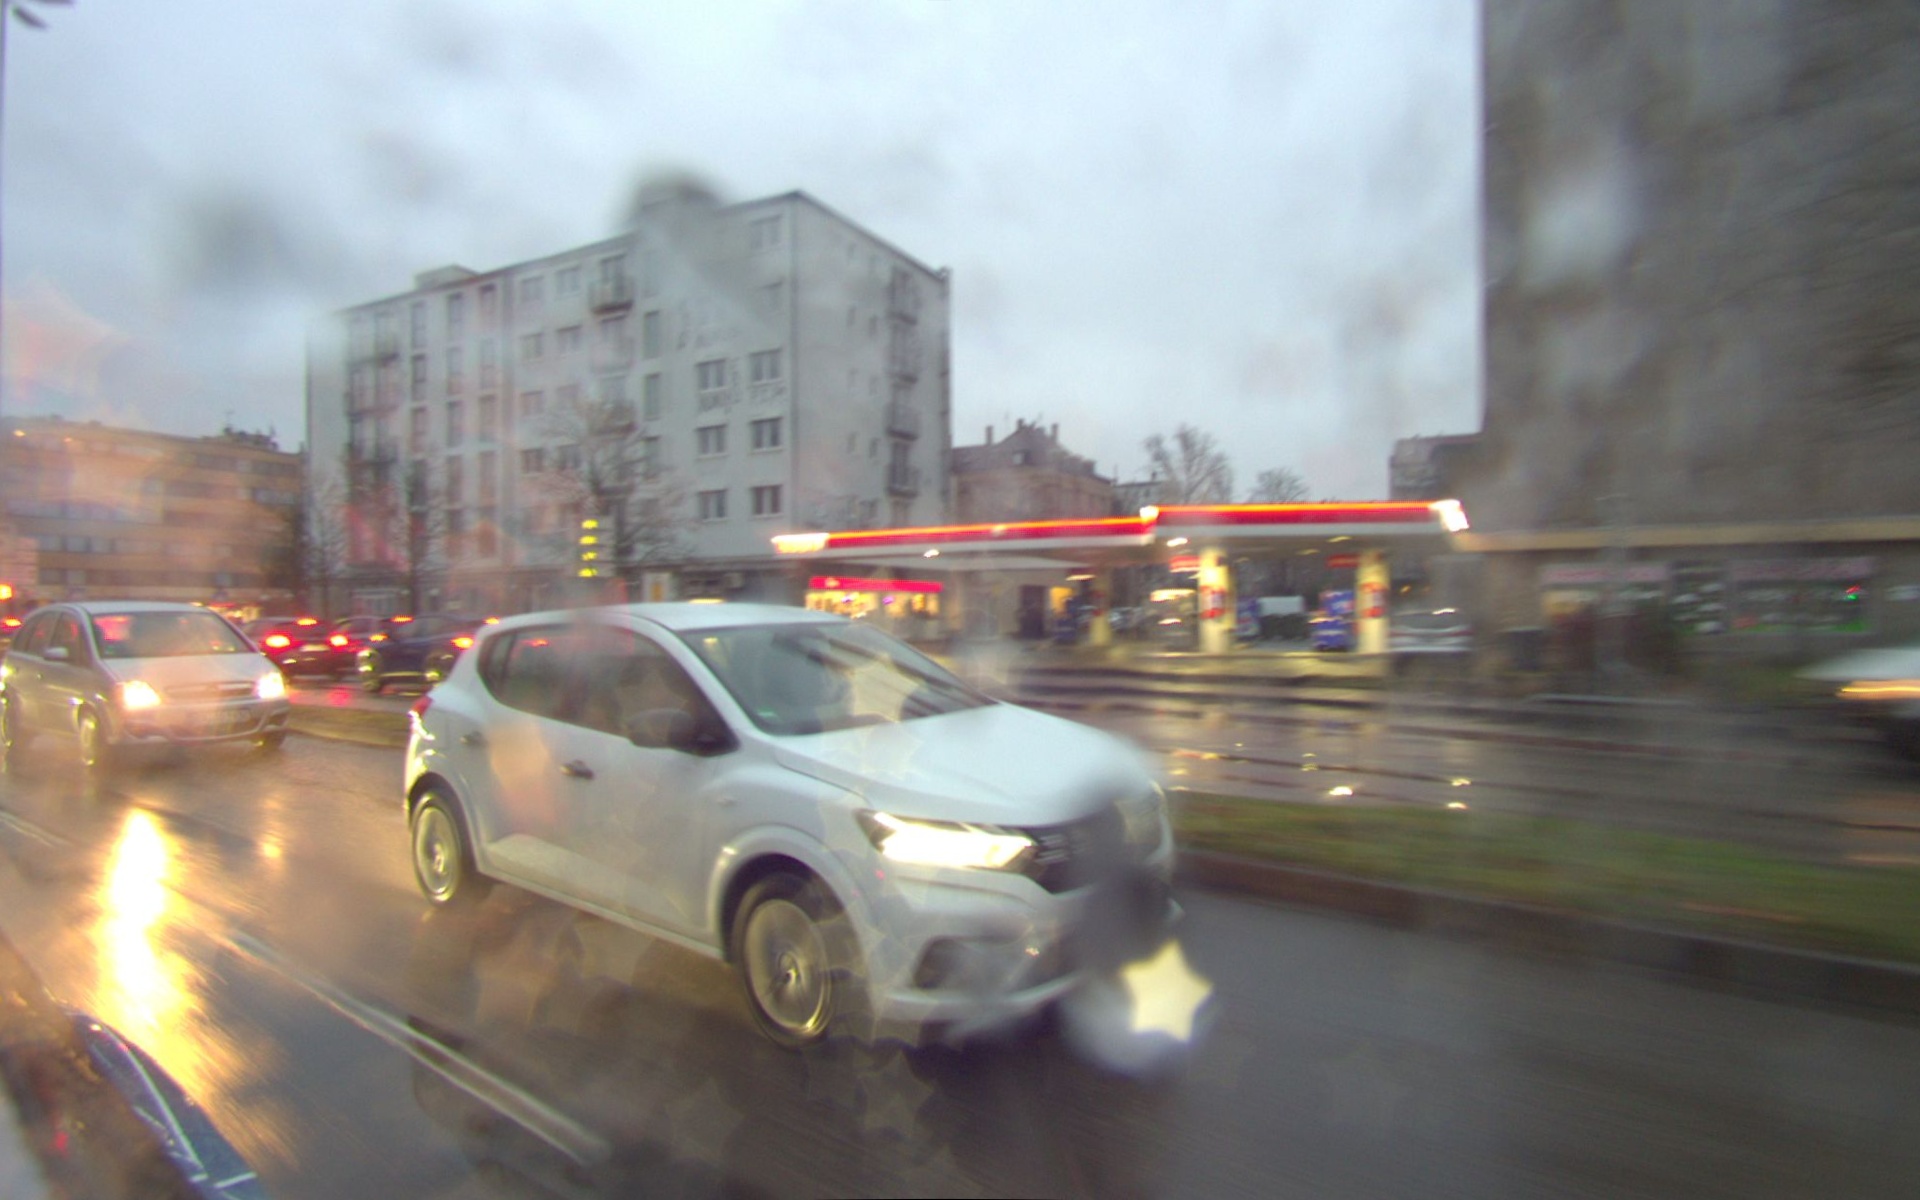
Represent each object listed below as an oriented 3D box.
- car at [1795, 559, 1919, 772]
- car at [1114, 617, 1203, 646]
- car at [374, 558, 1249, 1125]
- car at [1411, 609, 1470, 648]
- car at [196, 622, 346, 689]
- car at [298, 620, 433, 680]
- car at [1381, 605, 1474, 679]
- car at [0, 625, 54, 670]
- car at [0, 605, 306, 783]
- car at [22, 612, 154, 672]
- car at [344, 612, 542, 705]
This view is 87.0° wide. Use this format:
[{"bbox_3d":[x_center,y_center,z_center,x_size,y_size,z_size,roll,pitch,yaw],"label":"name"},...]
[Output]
[{"bbox_3d":[11.214,0.640,9.448,4.821,1.961,1.985,0,-3,22],"label":"car"},{"bbox_3d":[9.880,1.533,50.366,3.983,1.391,1.943,-1,-1,29],"label":"car"},{"bbox_3d":[-0.937,0.699,4.571,3.994,1.498,1.611,-2,-2,38],"label":"car"},{"bbox_3d":[20.151,1.160,42.357,1.992,1.541,3.960,-1,-1,29],"label":"car"},{"bbox_3d":[-16.714,1.300,24.493,4.134,1.498,1.631,-2,-2,35],"label":"car"},{"bbox_3d":[-16.790,1.385,28.533,4.269,1.579,1.631,-2,-2,35],"label":"car"},{"bbox_3d":[10.727,0.909,23.223,1.770,1.542,3.965,-1,-1,25],"label":"car"},{"bbox_3d":[-34.214,1.660,35.861,4.518,1.526,1.948,-2,-2,32],"label":"car"},{"bbox_3d":[-8.783,0.864,10.735,4.098,1.560,1.632,-1,-1,34],"label":"car"},{"bbox_3d":[-28.021,1.334,32.508,4.518,1.796,1.948,-2,-2,32],"label":"car"},{"bbox_3d":[-10.306,1.107,20.031,4.651,1.643,1.630,-2,-2,37],"label":"car"}]
